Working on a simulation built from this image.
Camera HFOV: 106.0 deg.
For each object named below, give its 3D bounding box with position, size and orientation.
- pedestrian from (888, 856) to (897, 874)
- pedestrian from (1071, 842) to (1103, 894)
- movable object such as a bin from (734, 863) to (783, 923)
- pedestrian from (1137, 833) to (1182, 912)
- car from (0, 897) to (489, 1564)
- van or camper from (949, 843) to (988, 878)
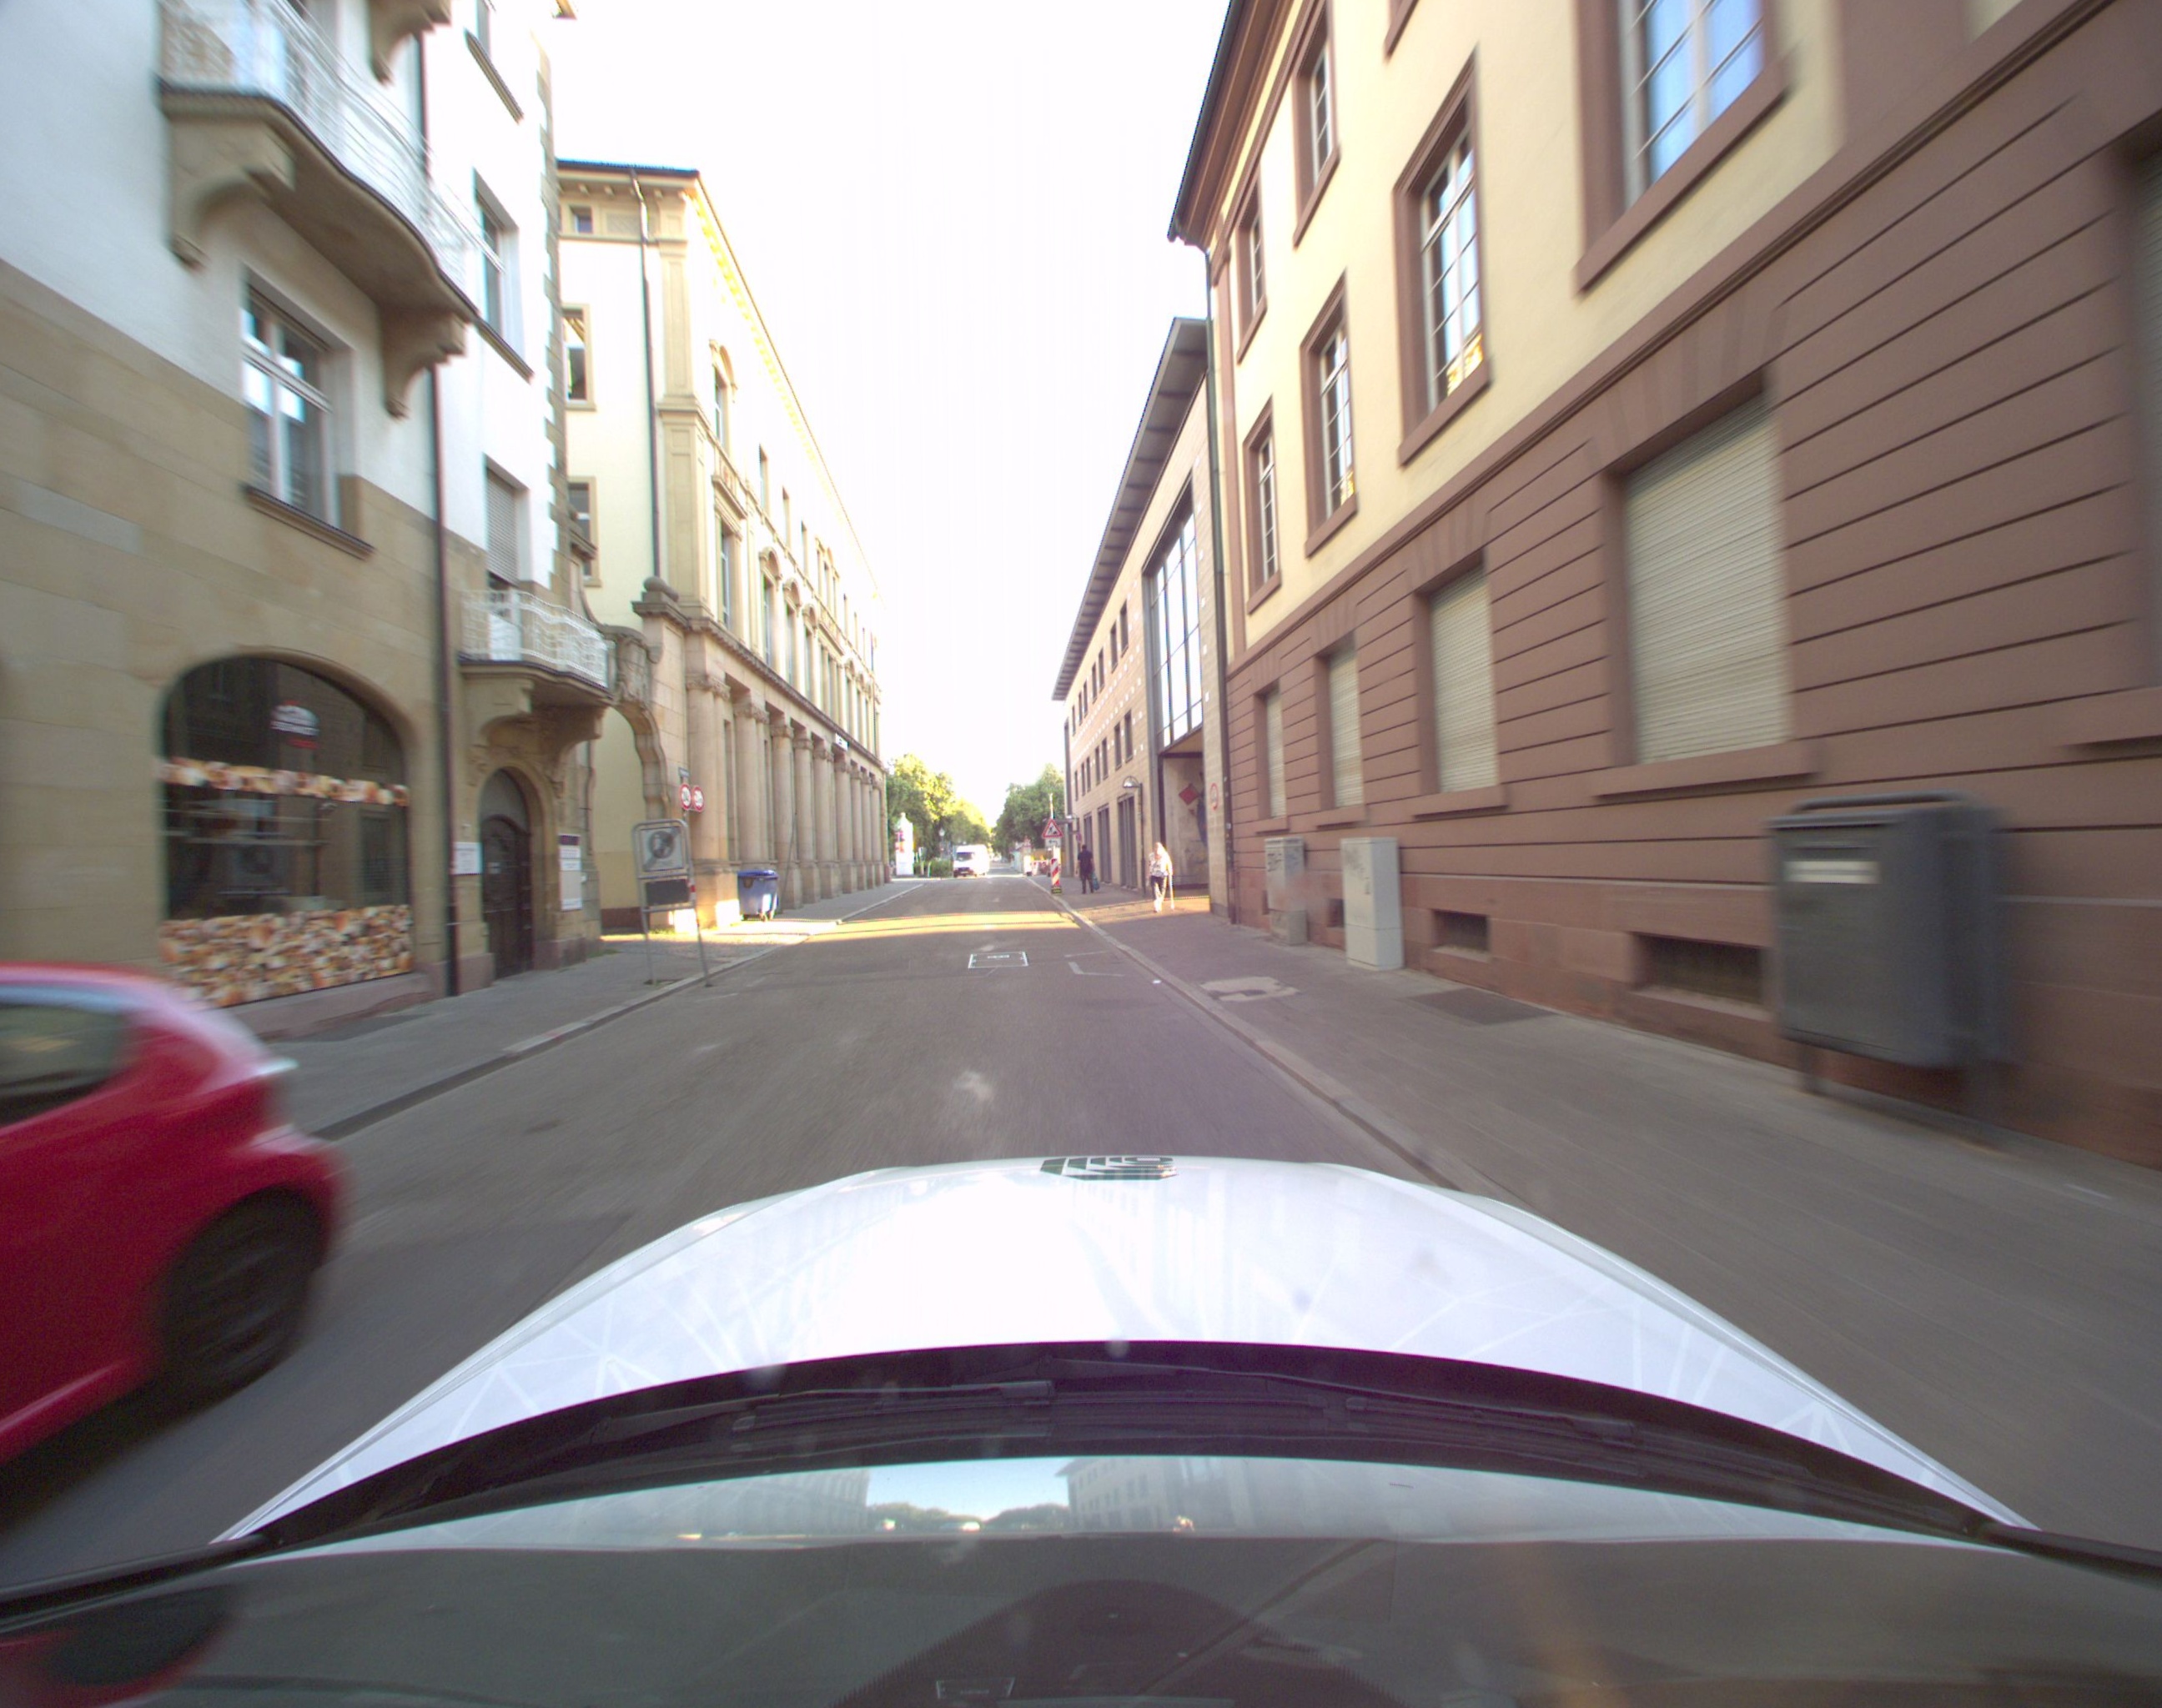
[{"bbox_3d":[-19.508,1.153,84.270,0.852,1.807,0.659,-1,-1,-20],"label":"pedestrian"},{"bbox_3d":[0.211,0.518,29.791,1.000,1.803,0.879,-3,-1,-7],"label":"pedestrian"},{"bbox_3d":[-8.552,1.015,21.638,0.827,1.503,1.289,-2,0,-6],"label":"movable object such as a bin"},{"bbox_3d":[1.887,0.448,19.694,0.843,1.803,0.896,-5,-1,-2],"label":"pedestrian"},{"bbox_3d":[-3.291,0.918,1.538,1.655,1.470,3.924,-4,-1,-5],"label":"car"},{"bbox_3d":[-9.015,0.522,65.616,2.212,2.585,6.369,-2,0,-1],"label":"van or camper"}]
